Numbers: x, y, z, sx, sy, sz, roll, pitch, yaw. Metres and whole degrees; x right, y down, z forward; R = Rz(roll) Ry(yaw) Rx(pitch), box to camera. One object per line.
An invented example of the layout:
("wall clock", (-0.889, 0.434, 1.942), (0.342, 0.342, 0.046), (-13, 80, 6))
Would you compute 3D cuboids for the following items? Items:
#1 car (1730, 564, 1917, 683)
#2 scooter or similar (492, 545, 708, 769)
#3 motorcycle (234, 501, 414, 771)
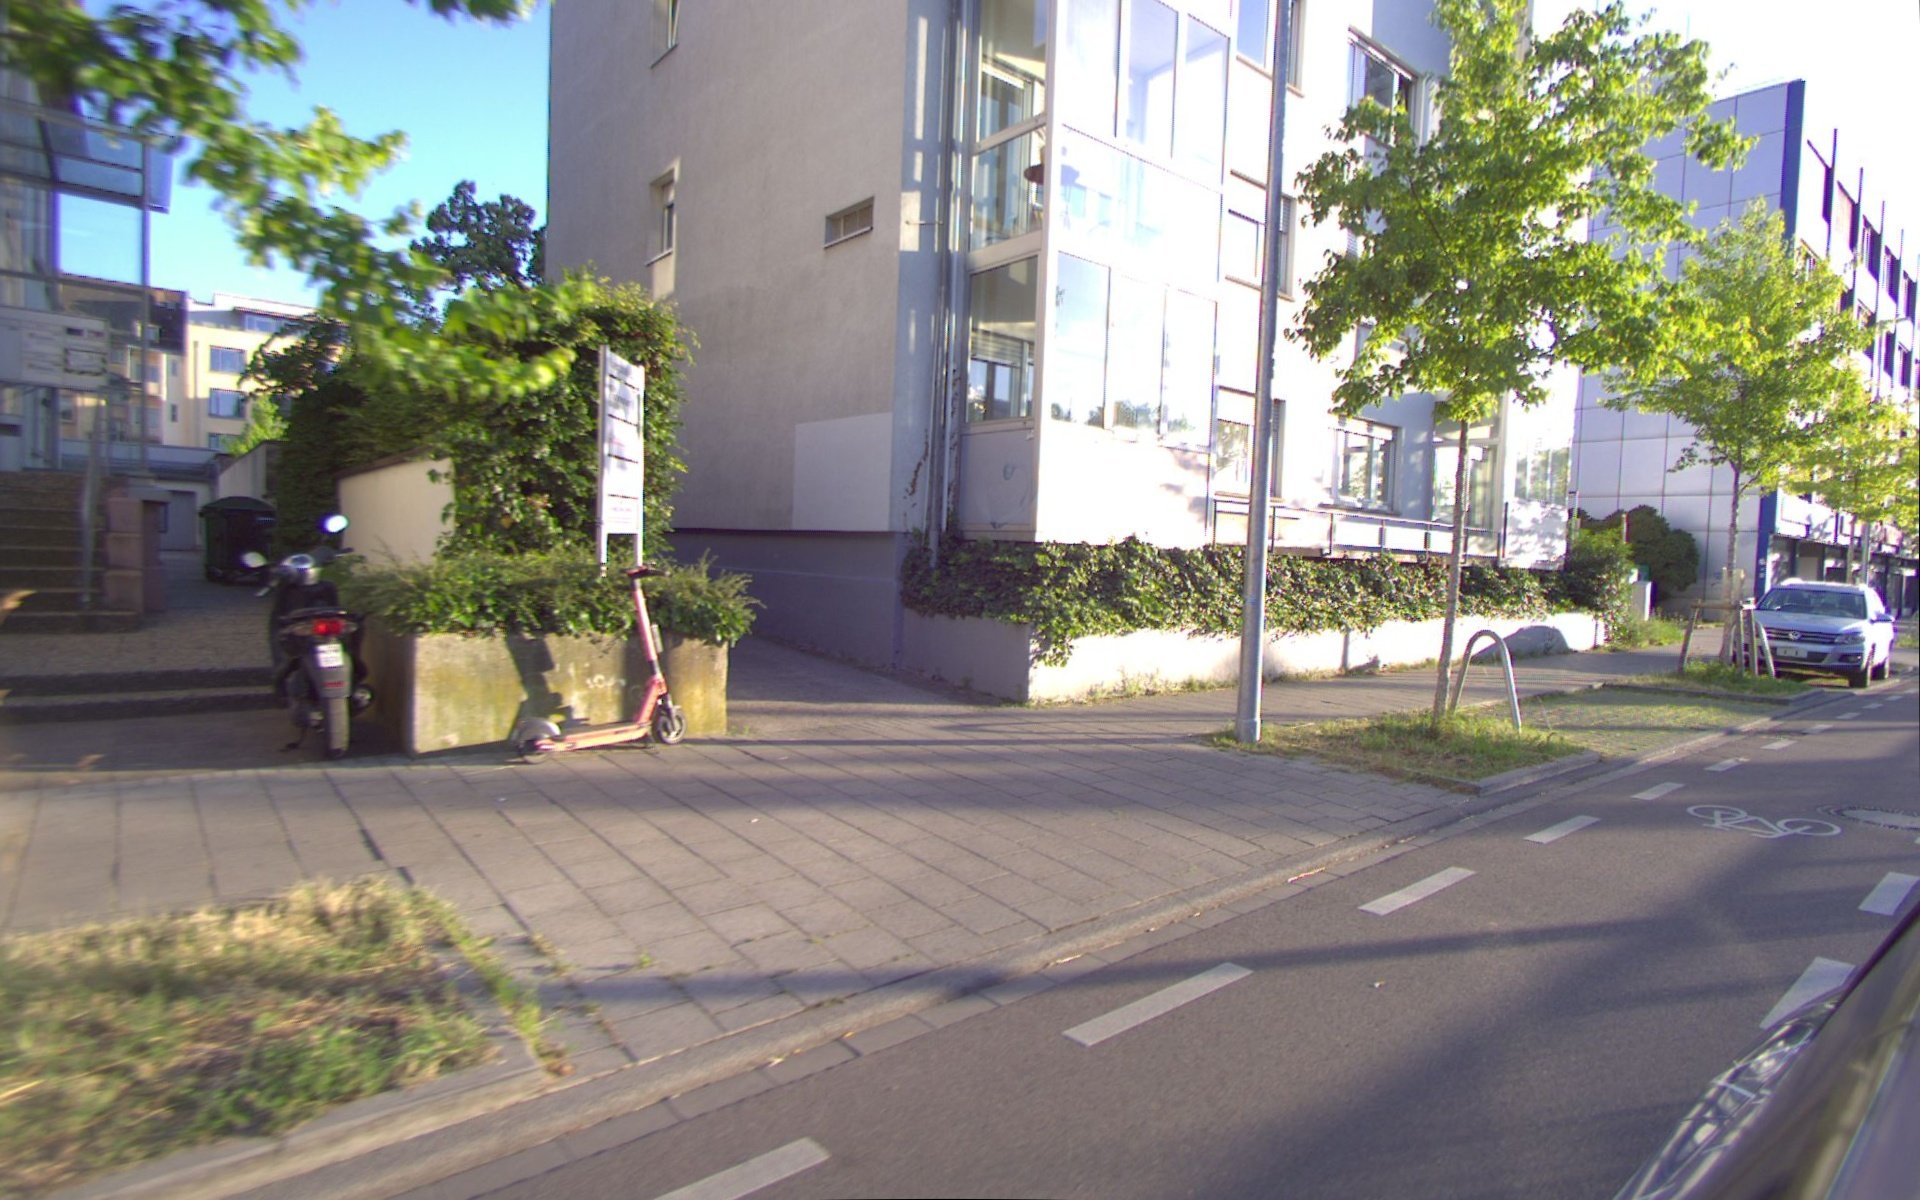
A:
("car", (15.083, 0.334, 17.609), (4.181, 1.727, 1.858), (0, 4, -42))
("scooter or similar", (-2.234, 0.308, 6.349), (1.188, 1.274, 0.491), (-1, 2, -44))
("motorcycle", (-3.915, 0.146, 6.176), (0.616, 1.430, 1.499), (2, 4, -43))
